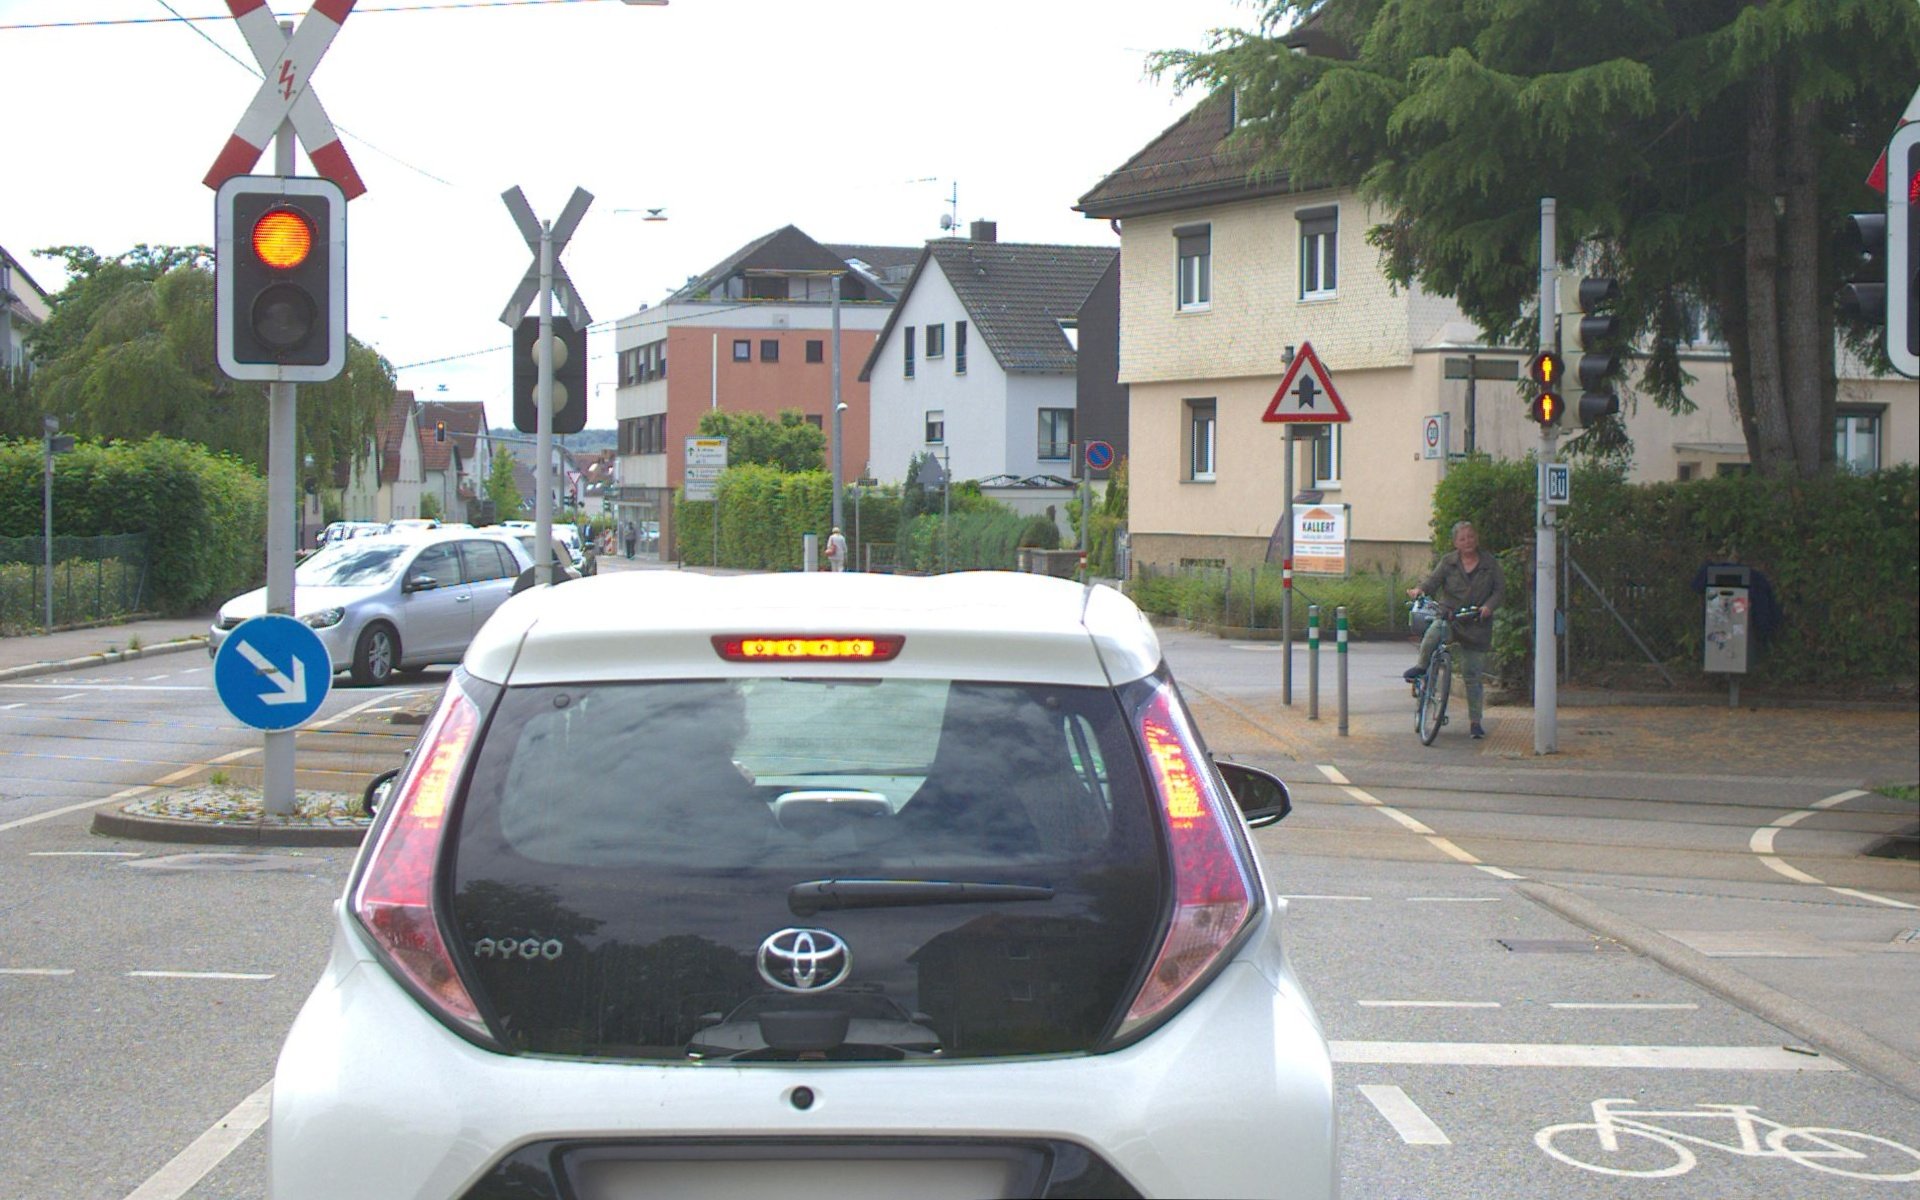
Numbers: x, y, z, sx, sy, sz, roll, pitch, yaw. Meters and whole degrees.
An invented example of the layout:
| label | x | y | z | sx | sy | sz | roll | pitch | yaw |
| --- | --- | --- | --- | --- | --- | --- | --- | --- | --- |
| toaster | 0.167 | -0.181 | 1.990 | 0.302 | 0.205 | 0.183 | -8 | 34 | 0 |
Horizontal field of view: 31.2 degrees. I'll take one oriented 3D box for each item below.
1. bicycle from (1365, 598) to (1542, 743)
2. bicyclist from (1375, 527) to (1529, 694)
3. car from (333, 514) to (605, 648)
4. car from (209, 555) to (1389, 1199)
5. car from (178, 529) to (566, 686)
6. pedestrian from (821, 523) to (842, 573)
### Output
| label | x | y | z | sx | sy | sz | roll | pitch | yaw |
| --- | --- | --- | --- | --- | --- | --- | --- | --- | --- |
| bicycle | 3.798 | 0.516 | 26.341 | 0.933 | 1.037 | 1.913 | 0 | 1 | 21 |
| bicyclist | 3.763 | 0.071 | 26.244 | 0.933 | 1.243 | 1.101 | 0 | 1 | 21 |
| car | -5.778 | -0.218 | 40.589 | 1.579 | 1.505 | 2.781 | 2 | 1 | 42 |
| car | -0.246 | 0.665 | 6.740 | 1.621 | 1.481 | 4.000 | 0 | 1 | -1 |
| car | -5.812 | 0.022 | 34.447 | 1.691 | 1.453 | 4.063 | 1 | 2 | 28 |
| pedestrian | -3.714 | -1.513 | 99.398 | 0.414 | 1.433 | 0.437 | 2 | 2 | 30 |
